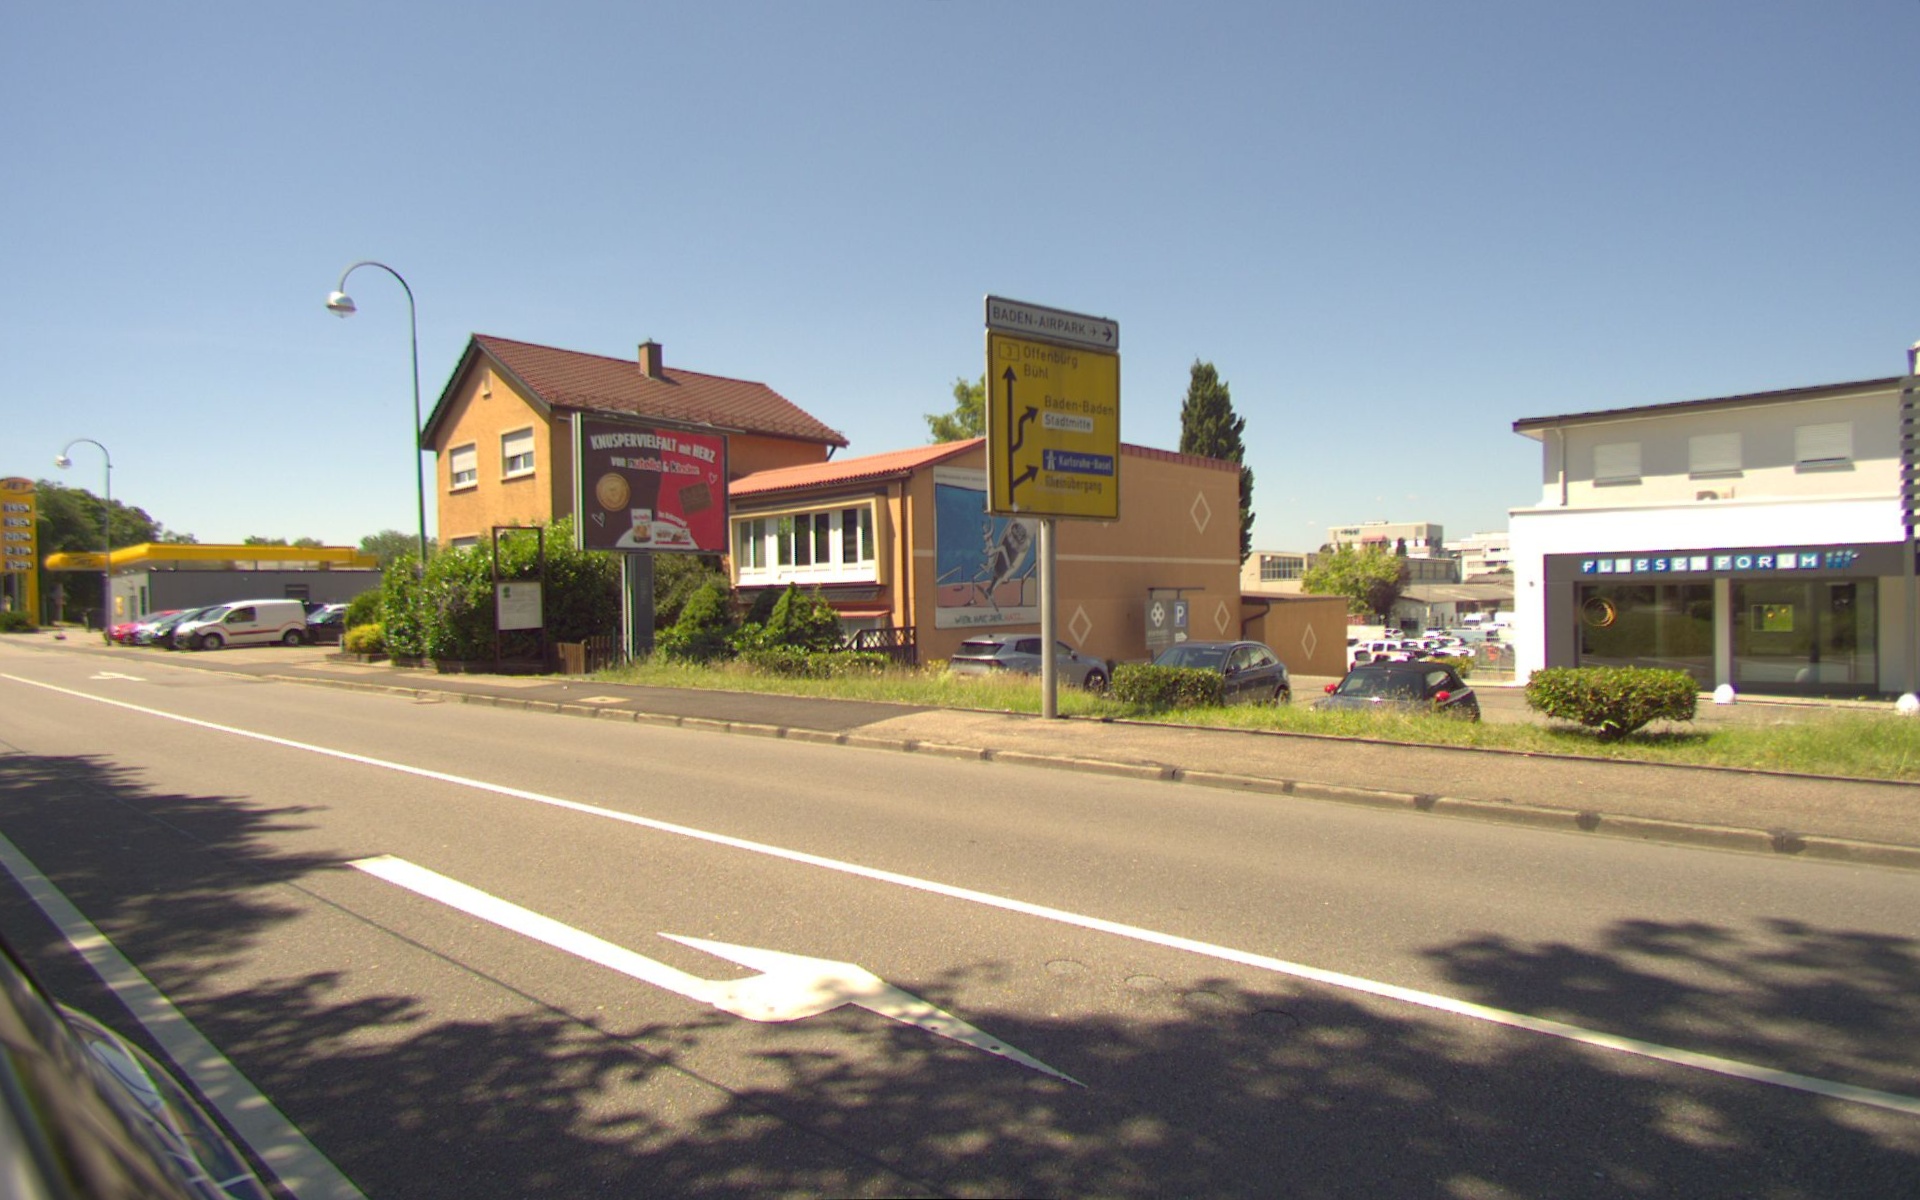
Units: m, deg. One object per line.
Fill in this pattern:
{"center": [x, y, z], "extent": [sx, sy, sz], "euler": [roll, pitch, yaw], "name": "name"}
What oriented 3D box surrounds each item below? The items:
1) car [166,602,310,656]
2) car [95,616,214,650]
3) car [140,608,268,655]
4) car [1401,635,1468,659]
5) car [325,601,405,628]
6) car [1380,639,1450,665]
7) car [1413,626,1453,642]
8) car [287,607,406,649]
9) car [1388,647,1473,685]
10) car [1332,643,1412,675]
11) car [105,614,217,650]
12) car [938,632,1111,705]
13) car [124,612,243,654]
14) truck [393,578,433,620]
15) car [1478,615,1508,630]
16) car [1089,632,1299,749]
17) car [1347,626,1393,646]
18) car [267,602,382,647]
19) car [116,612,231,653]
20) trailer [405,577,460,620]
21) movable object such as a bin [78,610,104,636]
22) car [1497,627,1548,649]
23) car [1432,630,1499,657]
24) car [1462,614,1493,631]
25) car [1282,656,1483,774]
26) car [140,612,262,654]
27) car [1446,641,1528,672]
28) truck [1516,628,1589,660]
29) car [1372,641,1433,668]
{"center": [-27.562, 1.042, 38.736], "extent": [1.996, 1.912, 4.057], "euler": [0, 0, 36], "name": "car"}
{"center": [-37.568, 1.502, 47.279], "extent": [1.825, 1.455, 4.084], "euler": [0, 0, 40], "name": "car"}
{"center": [-29.469, 1.201, 39.526], "extent": [1.920, 1.685, 3.628], "euler": [0, 0, 38], "name": "car"}
{"center": [33.660, 3.317, 71.823], "extent": [3.998, 1.486, 1.733], "euler": [0, 0, 41], "name": "car"}
{"center": [-36.949, 0.869, 62.933], "extent": [1.754, 1.596, 3.944], "euler": [0, 0, 42], "name": "car"}
{"center": [30.781, 3.492, 68.468], "extent": [3.998, 1.617, 1.813], "euler": [0, 0, 41], "name": "car"}
{"center": [44.896, 3.215, 96.104], "extent": [3.125, 1.395, 1.663], "euler": [0, 0, 41], "name": "car"}
{"center": [-26.104, 1.170, 43.142], "extent": [1.828, 1.580, 3.948], "euler": [-1, 1, 39], "name": "car"}
{"center": [25.077, 3.482, 53.996], "extent": [3.816, 1.740, 1.729], "euler": [0, 0, 41], "name": "car"}
{"center": [23.913, 3.403, 58.825], "extent": [3.998, 1.665, 1.725], "euler": [0, 0, 41], "name": "car"}
{"center": [-36.035, 1.406, 45.705], "extent": [1.890, 1.468, 3.628], "euler": [0, 0, 38], "name": "car"}
{"center": [1.566, 1.519, 23.599], "extent": [3.979, 1.462, 1.781], "euler": [0, -1, -43], "name": "car"}
{"center": [-32.681, 1.355, 42.655], "extent": [1.920, 1.593, 3.628], "euler": [0, 0, 38], "name": "car"}
{"center": [-44.323, -0.071, 82.032], "extent": [3.188, 3.267, 1.826], "euler": [-2, -1, 41], "name": "truck"}
{"center": [59.760, 2.523, 113.388], "extent": [2.000, 1.608, 3.943], "euler": [-1, -1, 43], "name": "car"}
{"center": [4.375, 1.526, 18.487], "extent": [1.895, 1.699, 4.285], "euler": [0, 0, 42], "name": "car"}
{"center": [34.109, 2.976, 84.224], "extent": [3.220, 1.488, 1.350], "euler": [0, 0, 41], "name": "car"}
{"center": [-27.973, 1.054, 44.640], "extent": [1.998, 1.875, 3.864], "euler": [-1, -1, 39], "name": "car"}
{"center": [-34.218, 1.379, 44.080], "extent": [1.879, 1.617, 3.628], "euler": [0, 0, 38], "name": "car"}
{"center": [-41.489, -0.095, 79.523], "extent": [5.911, 3.244, 1.845], "euler": [0, 0, 41], "name": "trailer"}
{"center": [-54.587, 1.465, 63.563], "extent": [1.427, 1.528, 0.942], "euler": [-3, 3, 42], "name": "movable object such as a bin"}
{"center": [42.252, 2.854, 76.022], "extent": [3.125, 1.545, 1.663], "euler": [0, 0, 41], "name": "car"}
{"center": [36.503, 3.091, 73.148], "extent": [3.998, 1.829, 1.973], "euler": [-1, -1, 41], "name": "car"}
{"center": [61.416, 2.647, 120.010], "extent": [3.939, 1.843, 2.002], "euler": [-1, 0, -43], "name": "car"}
{"center": [6.645, 1.690, 15.775], "extent": [1.781, 1.434, 3.300], "euler": [-1, -1, 45], "name": "car"}
{"center": [-30.929, 1.317, 41.315], "extent": [1.920, 1.543, 3.628], "euler": [0, 0, 38], "name": "car"}
{"center": [31.404, 3.323, 60.344], "extent": [3.998, 1.648, 1.824], "euler": [-1, -1, 41], "name": "car"}
{"center": [40.031, 2.926, 68.407], "extent": [3.982, 1.992, 1.663], "euler": [0, 1, 41], "name": "truck"}
{"center": [28.163, 3.459, 64.441], "extent": [3.320, 1.558, 1.509], "euler": [0, 0, 41], "name": "car"}
